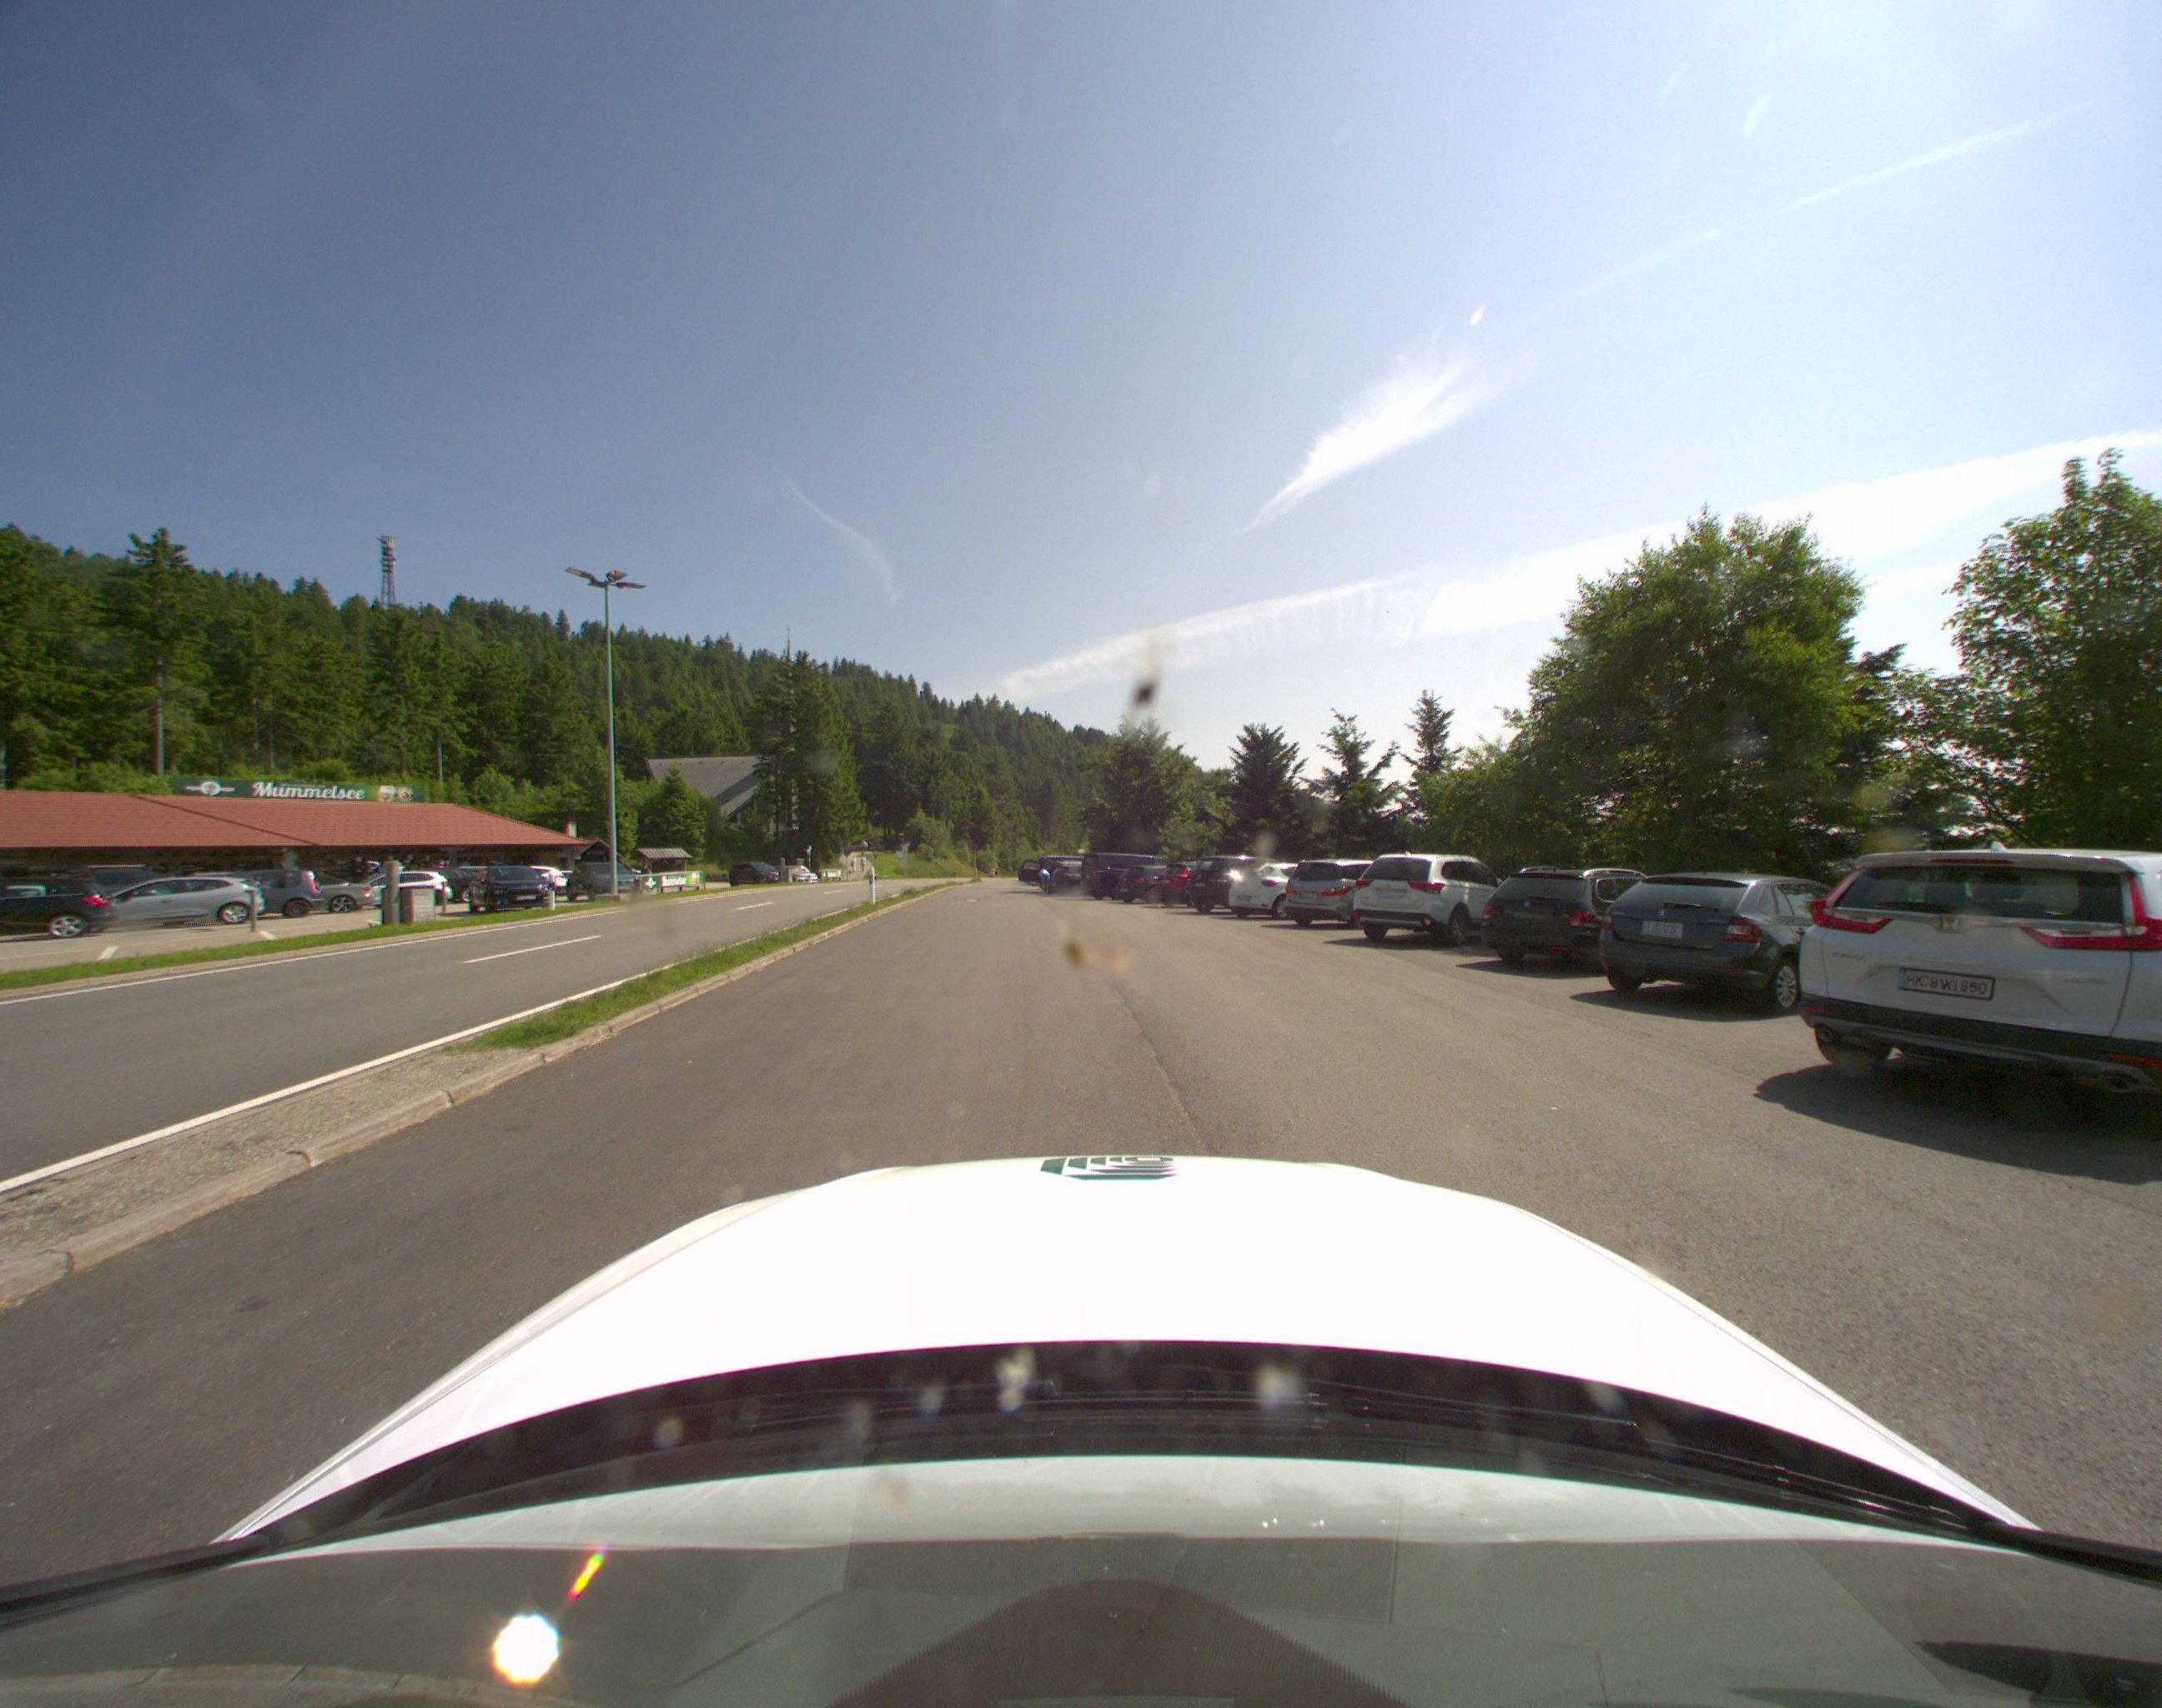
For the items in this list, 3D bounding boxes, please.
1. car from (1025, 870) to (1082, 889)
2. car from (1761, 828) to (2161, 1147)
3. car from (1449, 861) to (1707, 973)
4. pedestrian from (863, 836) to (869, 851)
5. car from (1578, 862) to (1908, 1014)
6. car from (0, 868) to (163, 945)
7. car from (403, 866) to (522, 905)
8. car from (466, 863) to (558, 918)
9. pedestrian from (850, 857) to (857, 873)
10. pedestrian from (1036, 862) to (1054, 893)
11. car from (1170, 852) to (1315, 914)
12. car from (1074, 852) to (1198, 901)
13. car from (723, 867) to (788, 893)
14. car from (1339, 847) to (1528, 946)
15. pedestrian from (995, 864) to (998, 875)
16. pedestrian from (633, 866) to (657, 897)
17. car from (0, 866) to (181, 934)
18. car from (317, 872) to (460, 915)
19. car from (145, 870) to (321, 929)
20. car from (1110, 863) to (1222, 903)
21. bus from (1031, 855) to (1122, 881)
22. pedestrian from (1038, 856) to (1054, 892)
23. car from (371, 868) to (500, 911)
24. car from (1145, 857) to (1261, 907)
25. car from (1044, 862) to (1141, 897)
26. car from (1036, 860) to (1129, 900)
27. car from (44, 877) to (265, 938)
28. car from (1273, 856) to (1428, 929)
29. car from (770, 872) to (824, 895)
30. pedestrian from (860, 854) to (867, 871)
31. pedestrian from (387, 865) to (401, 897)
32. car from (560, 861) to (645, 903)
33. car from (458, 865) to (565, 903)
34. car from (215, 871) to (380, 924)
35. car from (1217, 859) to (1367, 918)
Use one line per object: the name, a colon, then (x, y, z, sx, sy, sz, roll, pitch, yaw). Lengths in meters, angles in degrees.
car: (-2.348, 2.132, 68.763, 4.469, 1.299, 1.571, 4, -2, -21)
car: (7.165, 0.762, 5.866, 4.191, 1.650, 1.876, 2, -1, -25)
car: (7.808, 0.916, 12.703, 4.066, 1.461, 1.875, 2, -1, -33)
pedestrian: (-30.218, -1.471, 114.416, 0.816, 2.013, 0.850, -2, 1, -13)
car: (7.851, 0.893, 9.619, 3.815, 1.459, 1.648, 2, -1, -28)
car: (-25.872, 1.298, 20.143, 4.024, 1.703, 1.803, -2, 1, -45)
car: (-28.623, 1.415, 37.758, 1.974, 1.574, 4.025, -2, 0, 40)
car: (-18.186, 1.103, 25.969, 1.793, 1.552, 3.951, -2, 1, -44)
pedestrian: (-24.160, 1.220, 86.570, 0.653, 1.667, 0.640, -1, -2, -11)
pedestrian: (-1.691, 1.079, 38.075, 0.770, 1.402, 0.669, -2, 1, 1)
car: (4.981, 0.879, 24.828, 4.293, 1.695, 1.968, 2, -1, -37)
car: (2.300, 0.936, 33.856, 4.779, 1.880, 1.951, 2, -1, -24)
car: (-20.673, 1.653, 51.679, 4.156, 1.634, 1.800, -2, -2, 35)
car: (7.065, 0.775, 16.129, 4.249, 1.695, 1.841, 2, -1, -42)
pedestrian: (-13.388, 2.459, 129.475, 0.392, 1.747, 0.407, -1, 0, 7)
pedestrian: (-25.387, 1.582, 47.432, 0.895, 1.734, 0.959, -2, 1, -5)
car: (-32.337, 1.431, 26.428, 1.974, 1.903, 4.026, -2, 0, 38)
car: (-27.310, 1.504, 32.214, 1.883, 1.420, 4.025, -2, 0, 40)
car: (-27.006, 1.377, 26.030, 1.713, 1.588, 3.756, -1, 1, 41)
car: (3.238, 1.106, 30.770, 4.013, 1.415, 1.727, 2, -1, -32)
bus: (-0.646, 2.015, 117.211, 12.775, 3.578, 2.992, 0, 1, 12)
pedestrian: (-1.749, 0.998, 40.300, 0.580, 1.761, 0.629, 3, -2, -17)
car: (-27.804, 1.479, 35.161, 1.974, 1.574, 4.025, -2, 0, 40)
car: (4.281, 0.966, 28.253, 4.021, 1.590, 1.841, 3, -1, -42)
car: (0.531, 1.154, 36.930, 4.007, 1.443, 1.824, 2, -1, -26)
car: (0.100, 1.275, 39.567, 4.013, 1.662, 1.980, 5, -3, -32)
car: (-26.286, 1.460, 23.271, 1.789, 1.371, 4.025, -1, 1, 40)
car: (6.572, 0.905, 19.673, 4.021, 1.549, 1.798, 3, -1, -42)
car: (-20.277, 2.102, 58.018, 3.919, 1.441, 1.755, -2, 0, 39)
pedestrian: (-23.293, 0.910, 87.163, 0.653, 1.799, 0.640, -1, 0, -11)
pedestrian: (-41.109, 1.596, 48.720, 0.540, 1.874, 0.531, -2, -1, 38)
car: (-19.164, 1.091, 32.559, 4.008, 1.567, 1.751, -1, 0, 41)
car: (-28.724, 1.500, 41.164, 1.753, 1.672, 4.057, -3, 0, 39)
car: (-27.566, 1.456, 28.747, 1.875, 1.545, 4.025, -1, 1, 41)
car: (5.870, 0.954, 22.508, 4.014, 1.476, 1.750, 2, -1, -33)
